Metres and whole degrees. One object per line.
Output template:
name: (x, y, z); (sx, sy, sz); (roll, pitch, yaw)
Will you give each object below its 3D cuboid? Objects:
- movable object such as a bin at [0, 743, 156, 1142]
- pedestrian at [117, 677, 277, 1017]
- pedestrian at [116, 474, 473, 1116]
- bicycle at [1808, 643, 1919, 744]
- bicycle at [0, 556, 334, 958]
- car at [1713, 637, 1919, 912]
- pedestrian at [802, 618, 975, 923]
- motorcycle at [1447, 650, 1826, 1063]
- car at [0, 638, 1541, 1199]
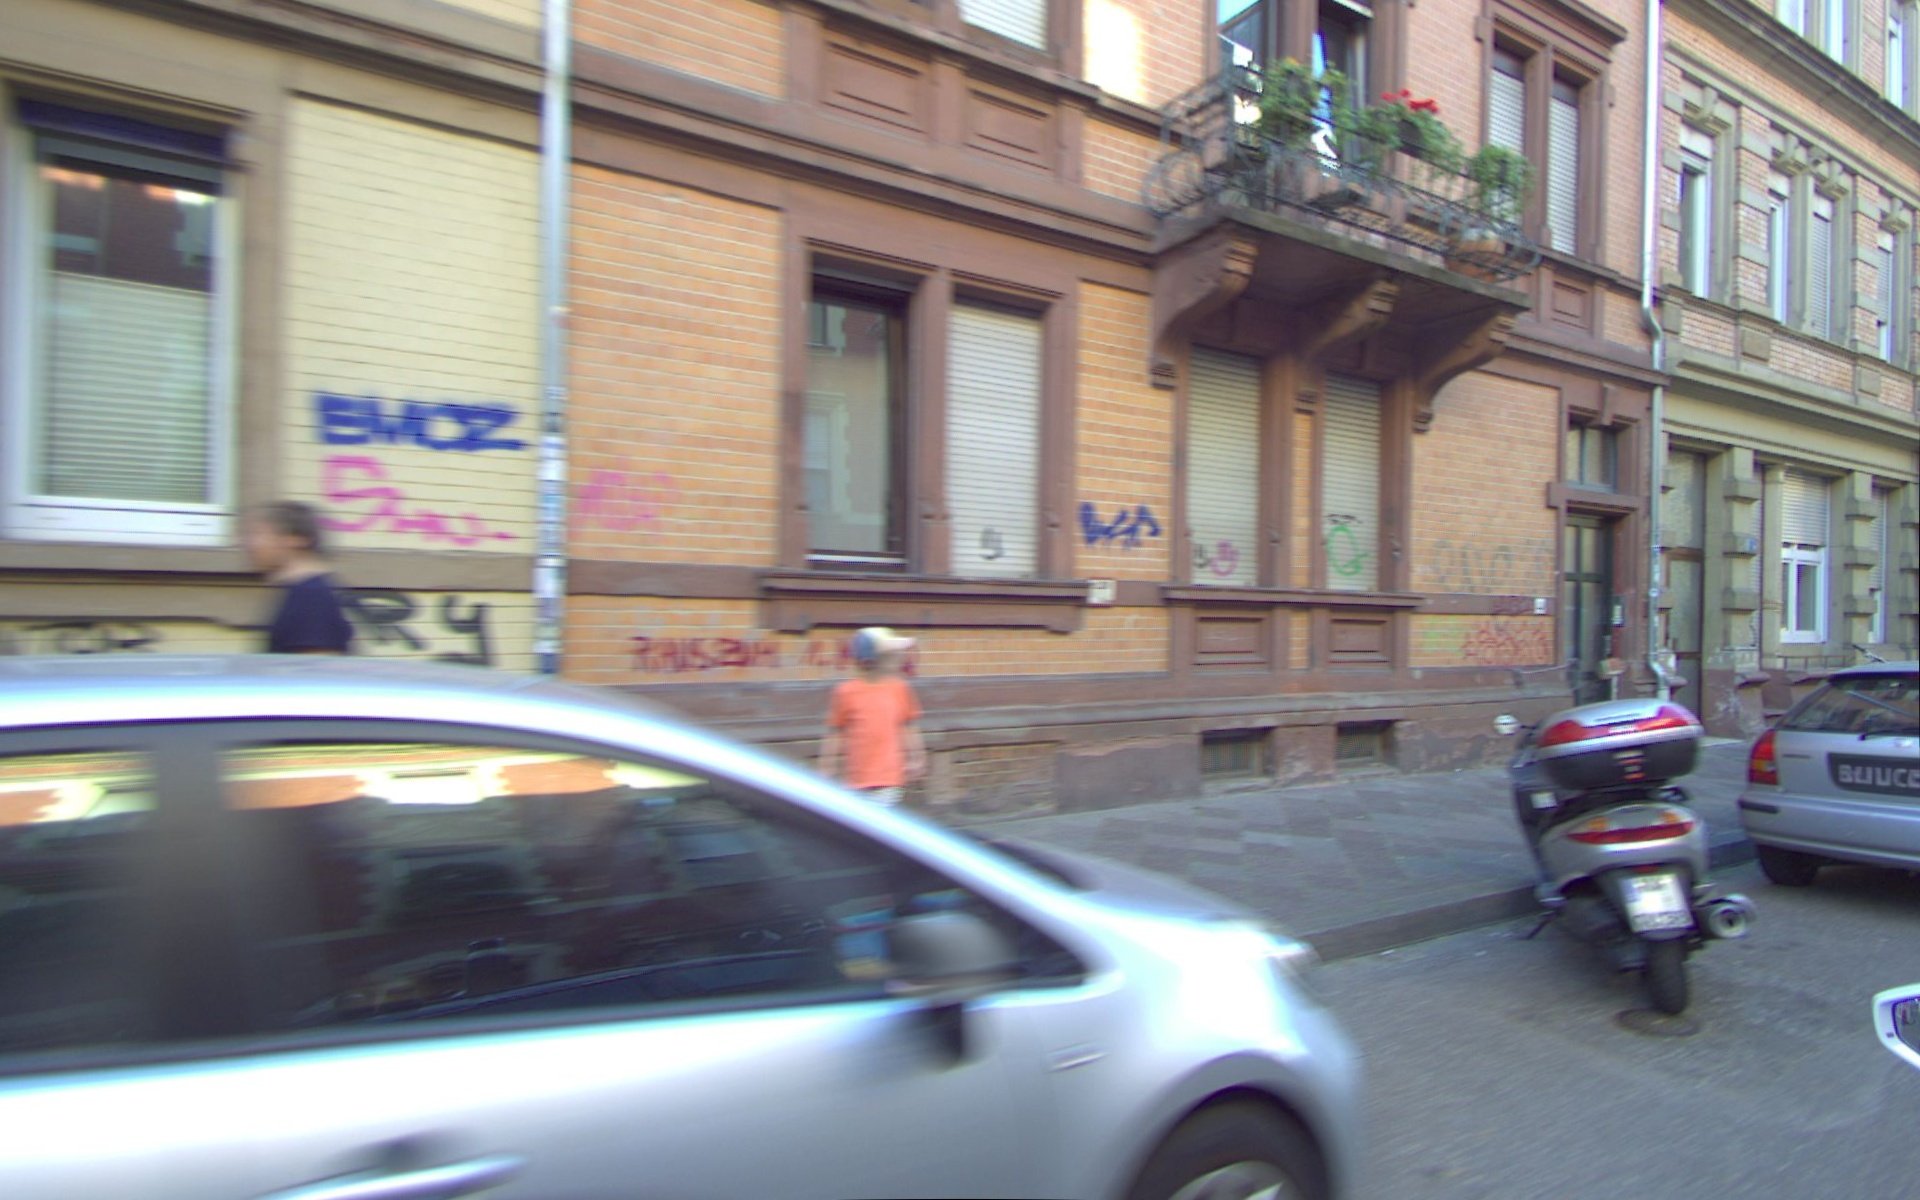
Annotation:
movable object such as a bin: (-3.114, 0.941, 2.694); (1.400, 0.944, 0.757); (1, -1, -33)
pedestrian: (-2.756, 0.850, 3.655); (0.427, 1.101, 0.391); (1, 0, -36)
pedestrian: (-2.159, 0.551, 3.334); (0.878, 1.788, 0.681); (1, -1, -34)
bicycle: (11.556, 1.148, 12.711); (1.764, 1.140, 0.663); (1, 2, -30)
bicycle: (-3.462, 0.567, 3.903); (1.692, 1.444, 0.521); (2, 2, -30)
car: (6.605, 0.980, 6.204); (3.954, 1.331, 1.690); (2, 2, -31)
pedestrian: (-0.337, 0.747, 4.684); (0.639, 1.301, 0.447); (2, 1, -30)
motorcycle: (2.868, 0.927, 4.593); (0.827, 1.378, 2.198); (0, -3, 17)
car: (-0.894, 0.788, 1.781); (3.955, 1.437, 1.665); (1, -2, -32)
